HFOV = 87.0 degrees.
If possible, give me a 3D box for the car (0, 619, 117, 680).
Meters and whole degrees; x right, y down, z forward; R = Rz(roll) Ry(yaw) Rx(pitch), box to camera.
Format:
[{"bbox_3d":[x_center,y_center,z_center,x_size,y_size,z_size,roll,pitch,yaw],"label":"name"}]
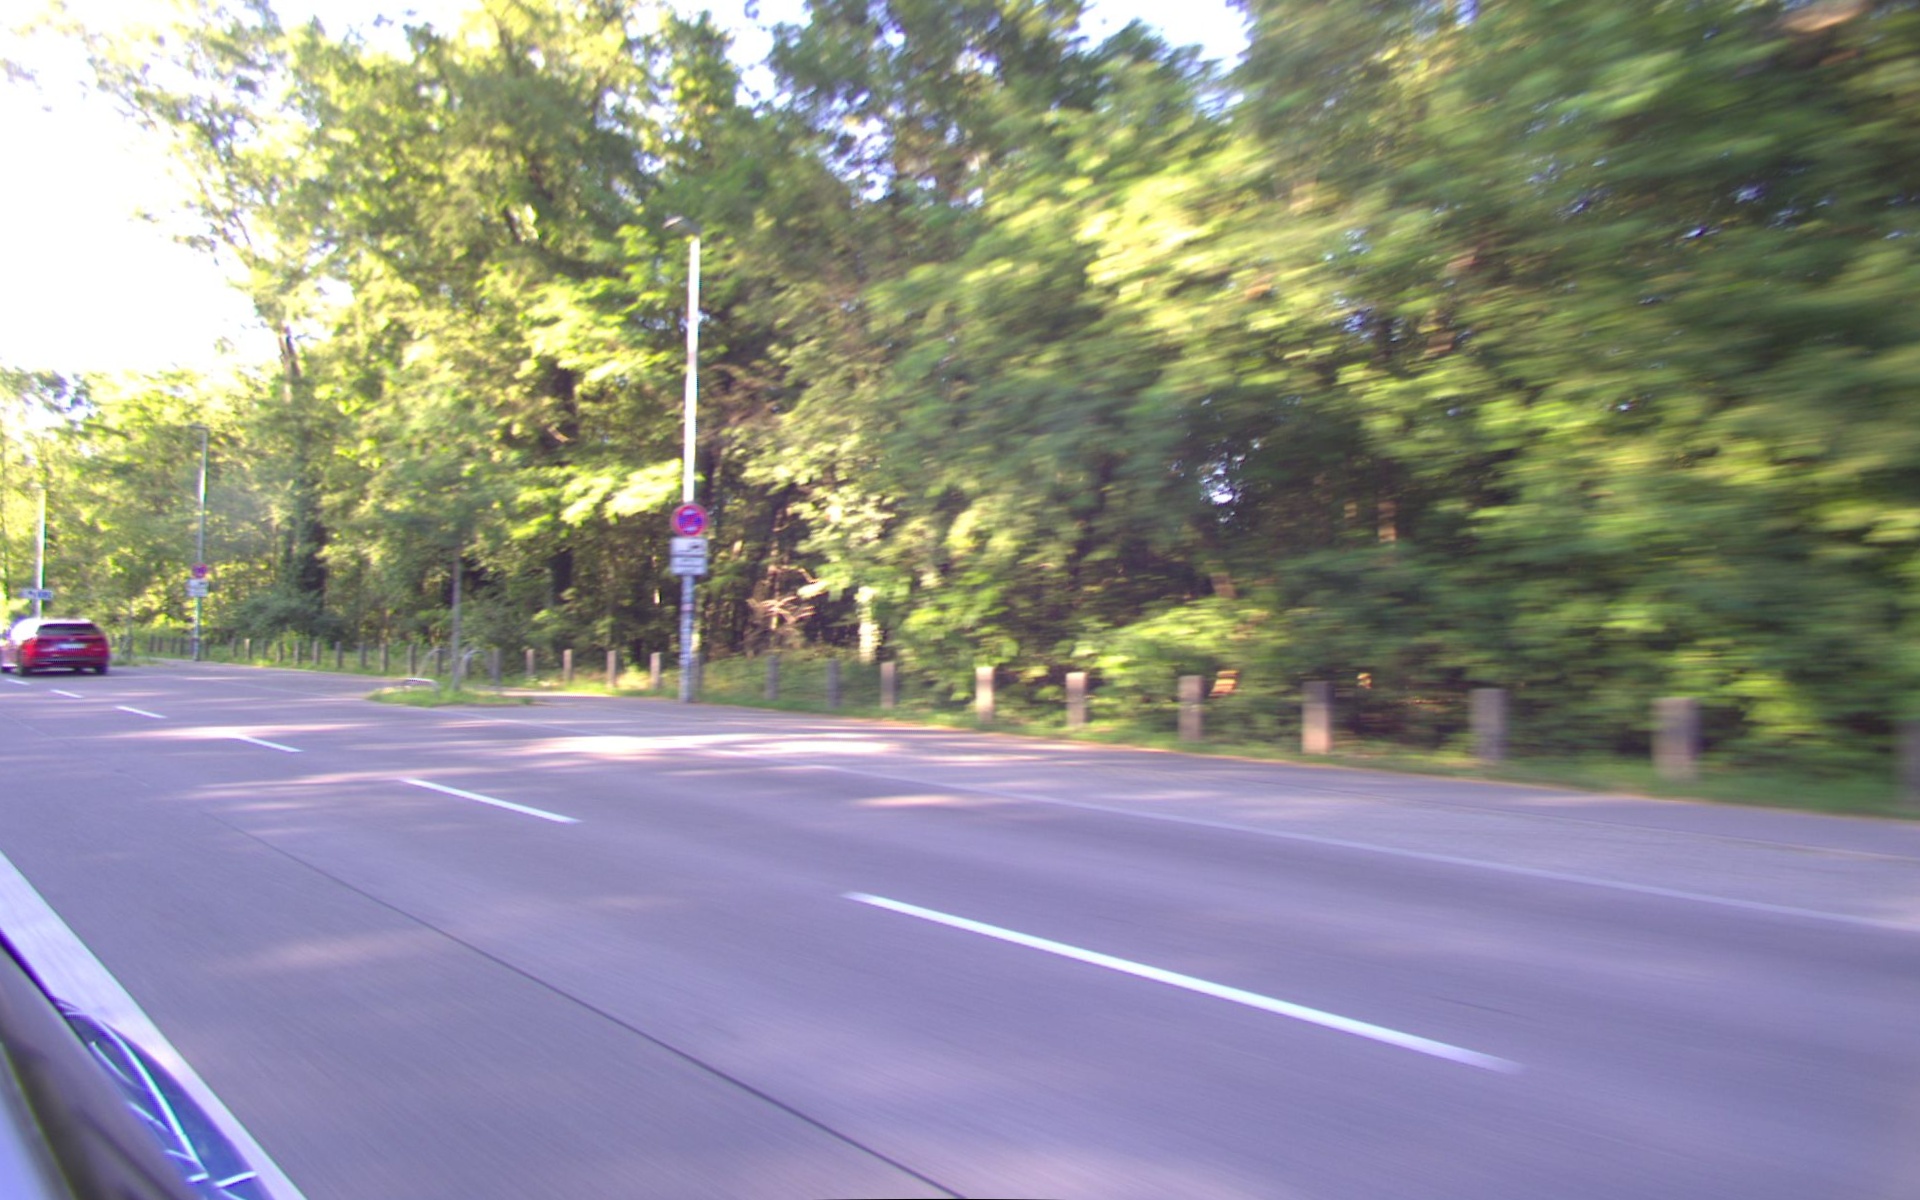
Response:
[{"bbox_3d":[-24.372,1.269,27.123,4.920,1.474,1.805,-1,-2,39],"label":"car"}]
